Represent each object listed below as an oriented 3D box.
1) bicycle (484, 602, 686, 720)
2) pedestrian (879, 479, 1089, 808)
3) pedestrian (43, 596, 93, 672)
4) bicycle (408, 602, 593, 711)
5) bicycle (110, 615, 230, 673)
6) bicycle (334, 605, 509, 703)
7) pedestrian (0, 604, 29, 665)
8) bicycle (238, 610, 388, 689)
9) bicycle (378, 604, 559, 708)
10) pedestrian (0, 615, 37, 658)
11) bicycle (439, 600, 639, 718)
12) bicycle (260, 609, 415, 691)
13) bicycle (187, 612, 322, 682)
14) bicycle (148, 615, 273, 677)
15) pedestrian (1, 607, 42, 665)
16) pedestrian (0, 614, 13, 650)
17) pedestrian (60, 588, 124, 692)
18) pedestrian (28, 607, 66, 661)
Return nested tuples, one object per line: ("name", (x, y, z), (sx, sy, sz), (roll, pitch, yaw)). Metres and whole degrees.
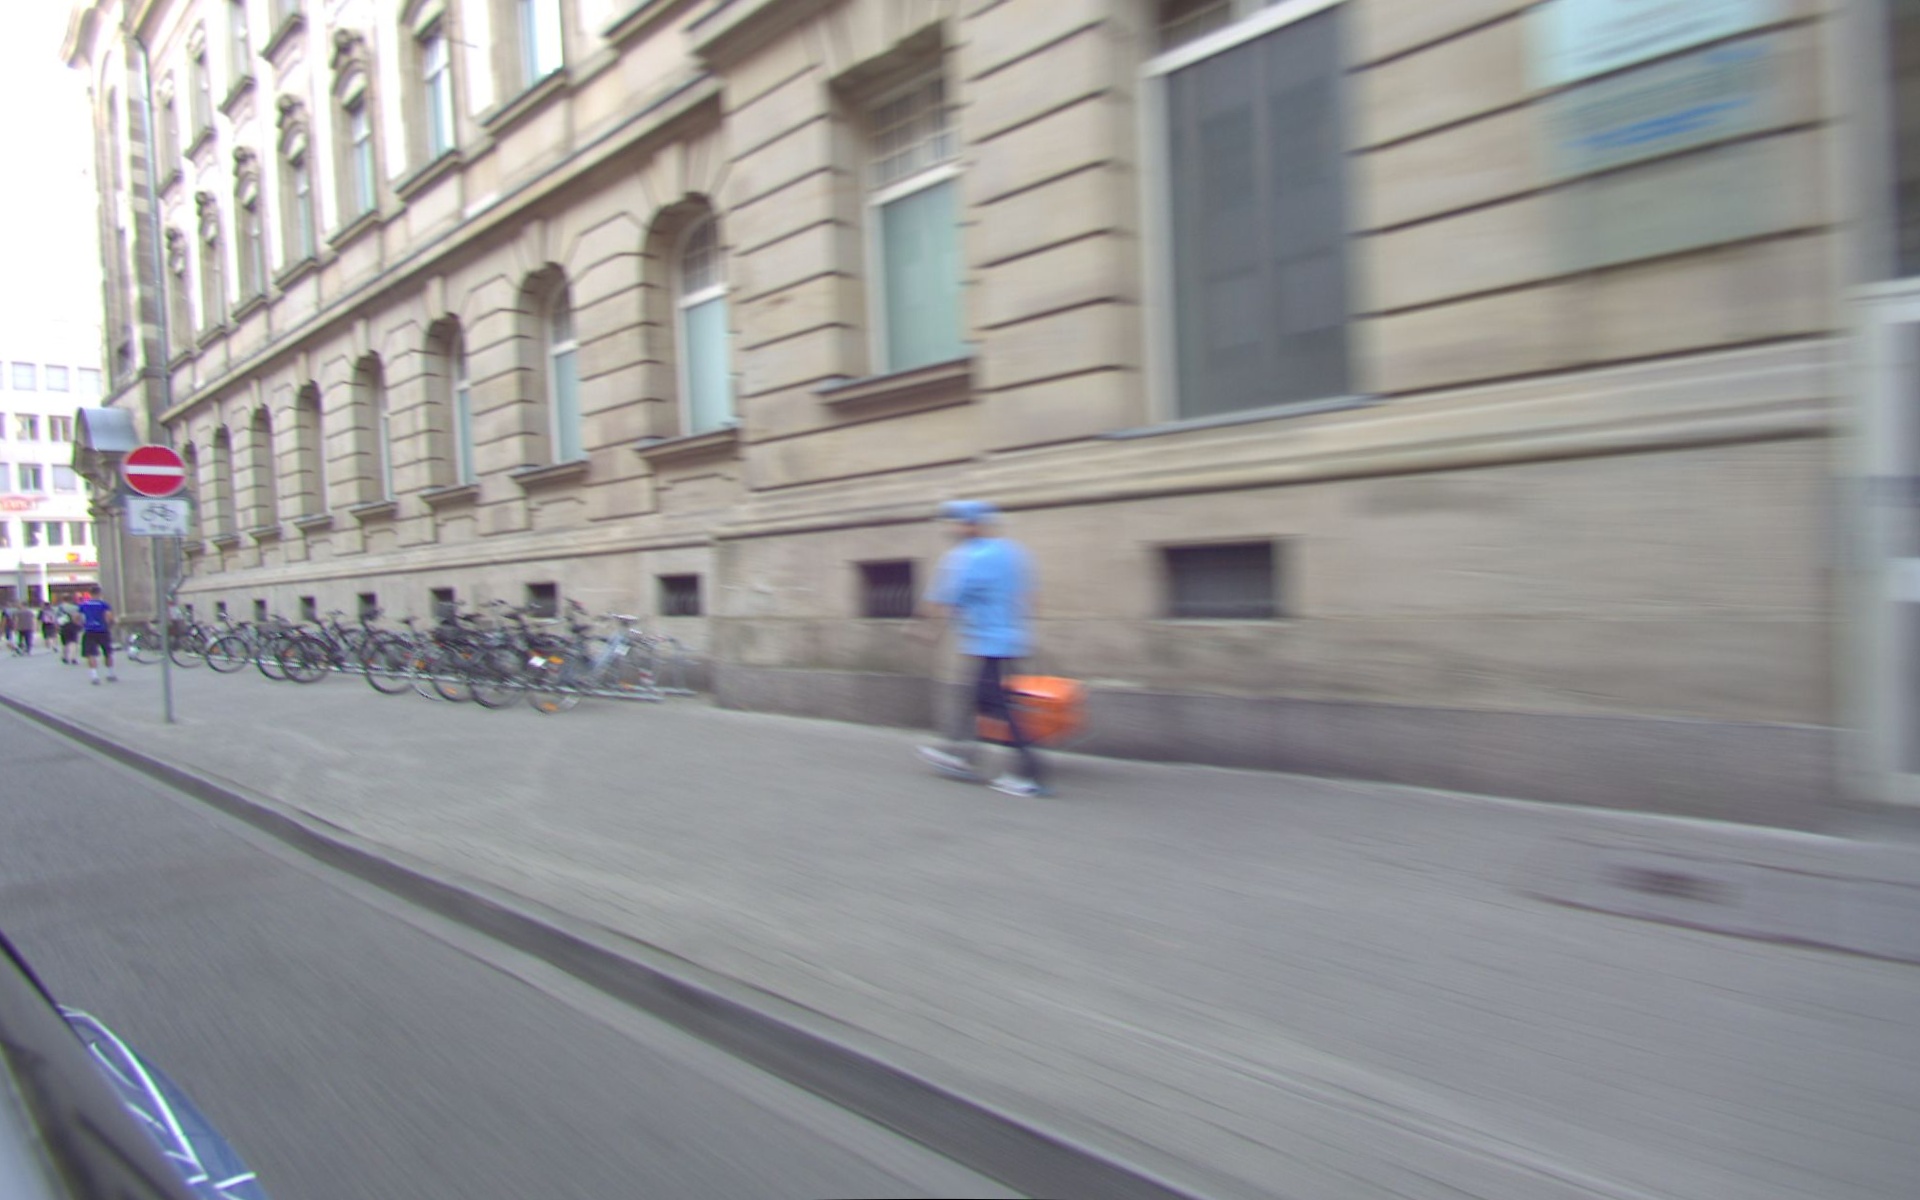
("bicycle", (-4.003, 0.615, 10.963), (0.720, 1.053, 1.918), (-2, 2, 37))
("pedestrian", (0.150, 0.211, 5.943), (0.768, 1.758, 0.820), (-2, 3, 42))
("pedestrian", (-21.956, 0.827, 24.914), (0.800, 1.793, 0.710), (-2, 3, 42))
("bicycle", (-5.599, 0.652, 12.456), (0.728, 1.086, 1.921), (-2, 3, 34))
("bicycle", (-18.229, 0.987, 23.391), (0.728, 1.117, 2.002), (-2, 3, 35))
("bicycle", (-7.257, 0.694, 13.728), (0.728, 1.086, 1.921), (-2, 3, 34))
("pedestrian", (-30.102, 1.092, 32.047), (0.708, 1.843, 0.871), (-8, 4, -41))
("bicycle", (-10.811, 0.798, 16.972), (0.728, 1.086, 1.921), (-2, 3, 34))
("bicycle", (-6.220, 0.672, 12.917), (0.728, 1.086, 1.921), (-2, 3, 34))
("pedestrian", (-37.737, 1.441, 40.563), (0.732, 1.671, 0.755), (-3, 0, -11))
("bicycle", (-4.739, 0.618, 11.517), (0.747, 1.086, 1.918), (-1, 4, 40))
("bicycle", (-9.913, 0.767, 16.194), (0.728, 1.086, 1.921), (-2, 3, 34))
("bicycle", (-13.414, 0.868, 19.310), (0.729, 1.086, 1.920), (-1, 4, 36))
("bicycle", (-15.959, 0.953, 21.625), (0.725, 1.086, 2.011), (-2, 3, 22))
("pedestrian", (-28.845, 1.099, 31.097), (0.858, 1.679, 0.721), (-2, 4, 44))
("pedestrian", (-45.532, 1.517, 48.067), (0.746, 1.701, 0.722), (-2, 0, 43))
("pedestrian", (-15.832, 0.717, 18.484), (0.766, 1.802, 0.822), (-5, 2, -40))
("pedestrian", (-29.401, 1.093, 32.603), (0.747, 1.653, 0.749), (-8, 4, -41))
